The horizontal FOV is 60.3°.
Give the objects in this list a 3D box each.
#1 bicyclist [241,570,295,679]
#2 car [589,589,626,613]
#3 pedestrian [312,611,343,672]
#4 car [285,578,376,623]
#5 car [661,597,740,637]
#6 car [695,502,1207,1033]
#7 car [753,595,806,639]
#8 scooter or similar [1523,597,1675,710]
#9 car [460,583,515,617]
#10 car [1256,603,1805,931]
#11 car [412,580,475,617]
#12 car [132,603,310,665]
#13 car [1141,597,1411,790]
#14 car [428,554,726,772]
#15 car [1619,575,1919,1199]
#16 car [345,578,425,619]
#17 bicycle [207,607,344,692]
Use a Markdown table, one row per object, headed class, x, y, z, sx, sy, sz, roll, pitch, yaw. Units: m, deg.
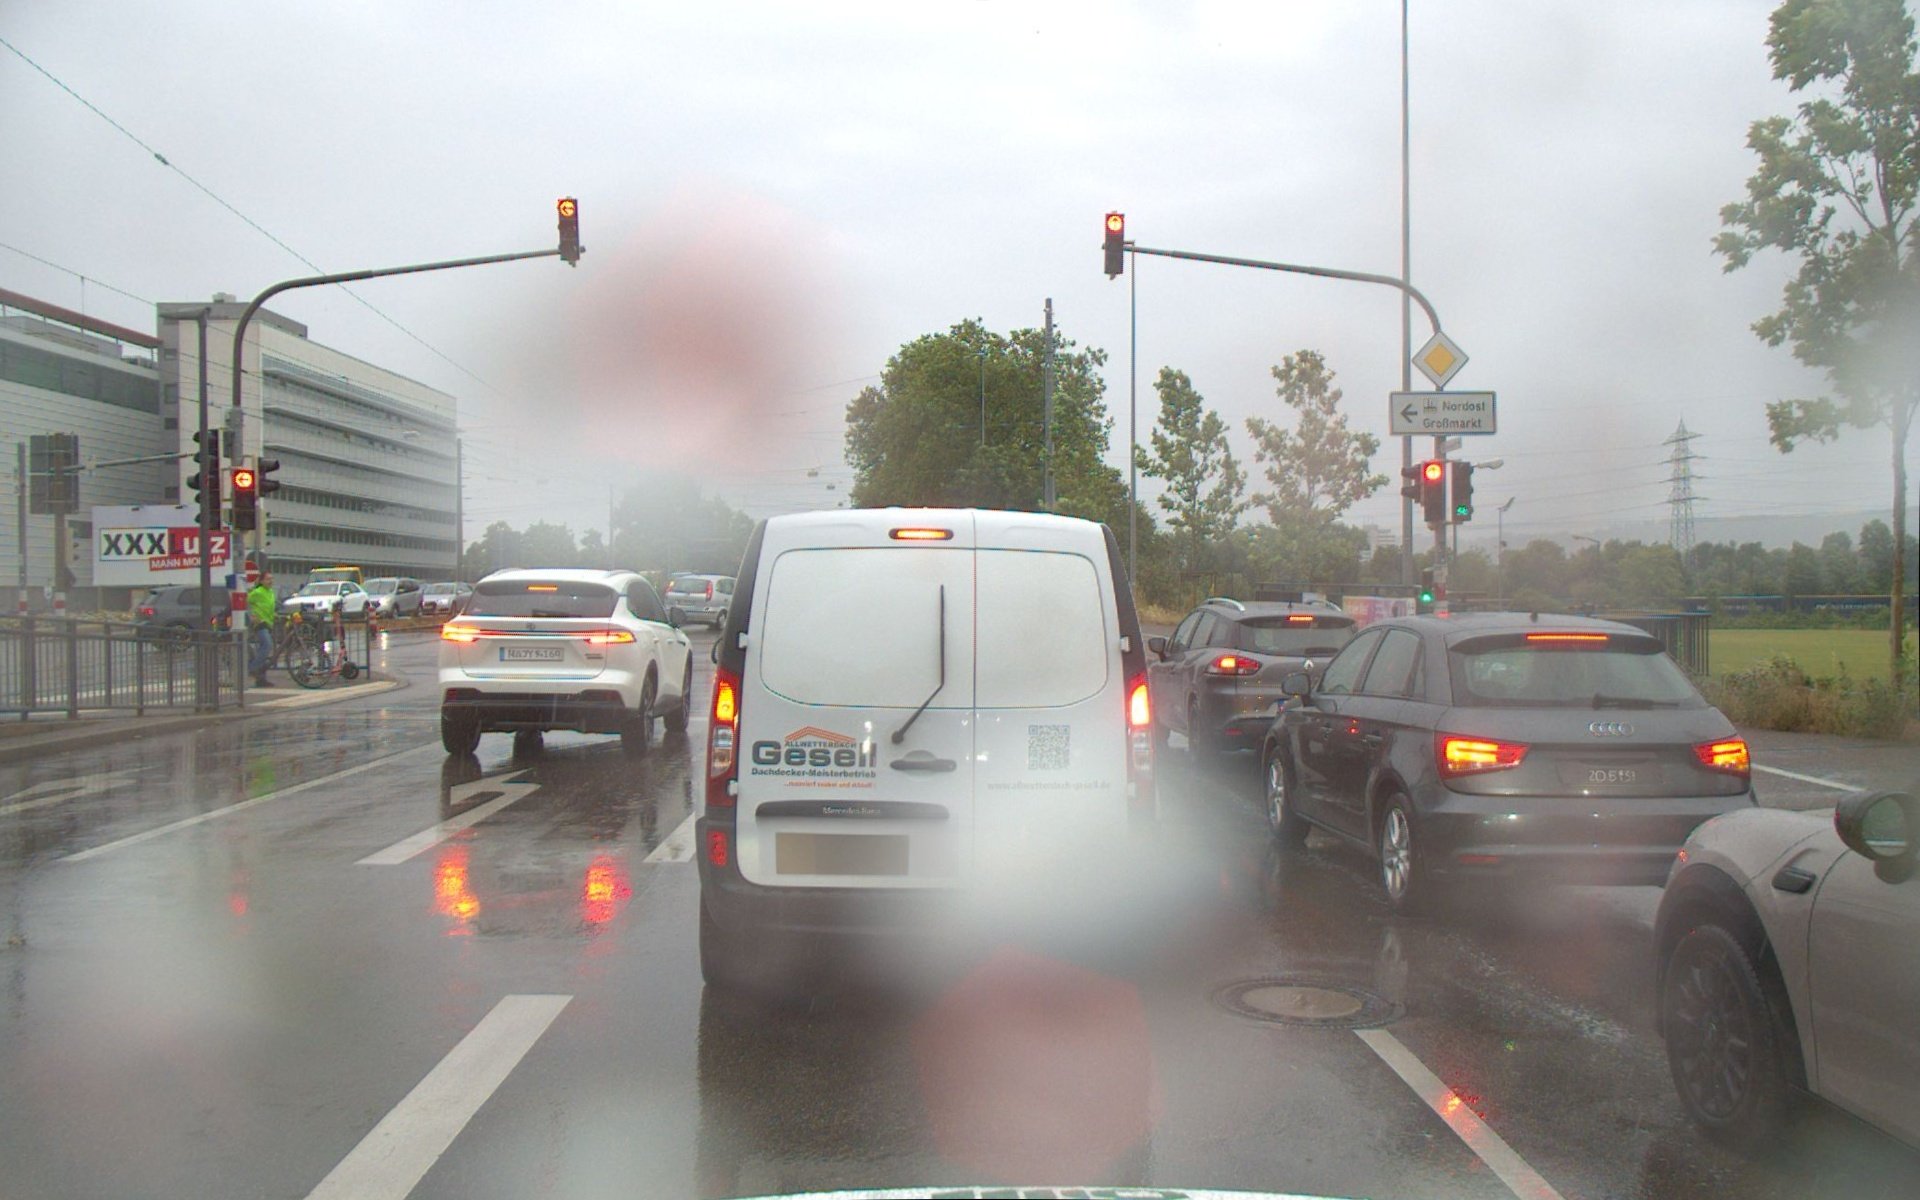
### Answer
| class | x | y | z | sx | sy | sz | roll | pitch | yaw |
| --- | --- | --- | --- | --- | --- | --- | --- | --- | --- |
| bicyclist | -9.818 | 0.341 | 23.467 | 0.593 | 1.517 | 0.597 | 1 | 0 | -15 |
| car | -21.960 | 0.076 | 103.097 | 1.528 | 1.451 | 3.568 | 2 | -1 | -1 |
| pedestrian | -9.697 | 0.638 | 25.368 | 0.309 | 0.913 | 0.380 | 2 | 0 | -3 |
| car | -21.589 | 0.041 | 56.845 | 1.676 | 1.451 | 3.808 | 2 | -1 | -1 |
| car | -7.767 | 0.524 | 49.695 | 1.460 | 1.104 | 3.538 | 2 | -1 | 6 |
| car | -0.172 | 0.537 | 7.691 | 1.719 | 1.780 | 4.166 | 1 | 1 | -4 |
| car | -6.929 | 0.652 | 63.693 | 1.602 | 1.549 | 3.774 | 4 | 0 | -1 |
| scooter or similar | 7.637 | 0.595 | 19.941 | 0.676 | 1.232 | 3.020 | 0 | 0 | 0 |
| car | -21.982 | 0.020 | 77.061 | 1.528 | 1.451 | 3.568 | 2 | -1 | -1 |
| car | 2.801 | 0.752 | 8.979 | 1.565 | 1.390 | 3.628 | -1 | -1 | -3 |
| car | -21.822 | -0.044 | 69.983 | 1.528 | 1.451 | 3.568 | 2 | -1 | -1 |
| car | -16.353 | 0.754 | 36.639 | 3.484 | 1.229 | 1.427 | 3 | -1 | -28 |
| car | 2.797 | 0.765 | 15.453 | 1.650 | 1.534 | 3.919 | 1 | 0 | -2 |
| car | -3.584 | 0.539 | 16.382 | 1.891 | 1.806 | 4.663 | 1 | 0 | -1 |
| car | 2.921 | 0.749 | 3.174 | 1.668 | 1.534 | 3.878 | 3 | -1 | -1 |
| car | -21.767 | -0.023 | 62.749 | 1.676 | 1.451 | 3.808 | 2 | -1 | -1 |
| bicycle | -9.697 | 0.700 | 23.475 | 1.725 | 1.157 | 0.517 | 1 | 0 | -17 |
